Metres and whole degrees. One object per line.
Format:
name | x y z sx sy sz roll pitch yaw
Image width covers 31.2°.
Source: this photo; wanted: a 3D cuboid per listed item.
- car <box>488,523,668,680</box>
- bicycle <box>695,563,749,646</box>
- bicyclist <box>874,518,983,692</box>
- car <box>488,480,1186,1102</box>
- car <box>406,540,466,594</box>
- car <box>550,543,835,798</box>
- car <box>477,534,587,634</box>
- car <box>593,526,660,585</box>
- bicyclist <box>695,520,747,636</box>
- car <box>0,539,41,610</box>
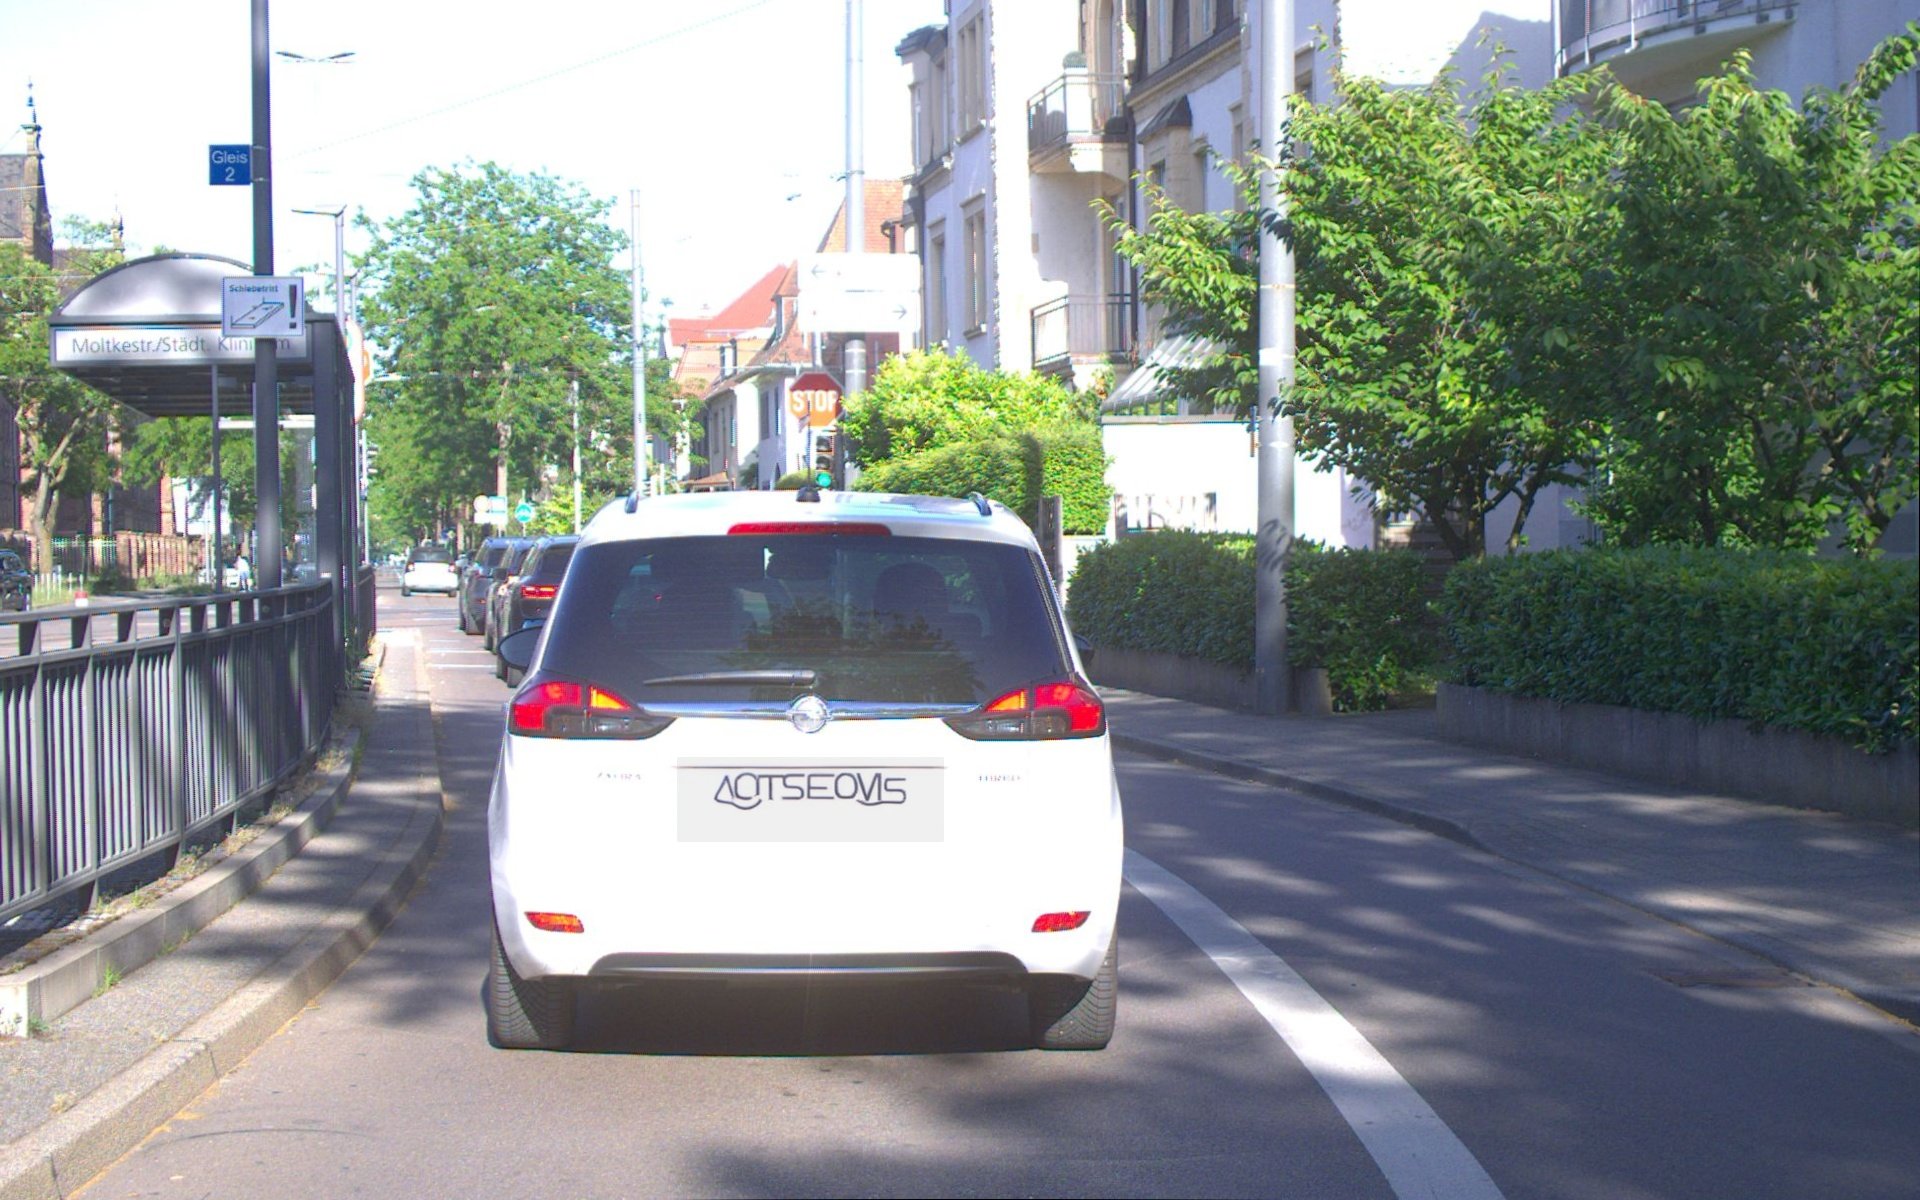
car | -4.217 -0.006 37.529 1.775 1.626 3.881 0 1 -9
bicycle | -3.372 0.049 48.599 0.685 1.153 1.620 0 1 -6
bicyclist | -0.282 0.038 30.071 0.821 1.496 0.934 0 0 -9
car | -0.581 0.478 11.103 1.834 1.636 3.919 0 1 -8
car | -16.668 -1.043 109.493 1.775 1.687 3.881 0 1 -7
car | -1.761 0.371 21.676 1.586 1.415 3.901 -1 1 -7
car | -7.196 -0.276 57.879 1.775 1.626 3.881 0 1 -7
car | -9.460 -1.243 97.275 1.775 1.626 3.881 0 1 -7
bicyclist | -3.390 -0.311 48.729 0.685 1.629 1.016 0 0 -6
car | -23.724 -0.627 83.008 1.906 1.671 4.358 0 1 0
